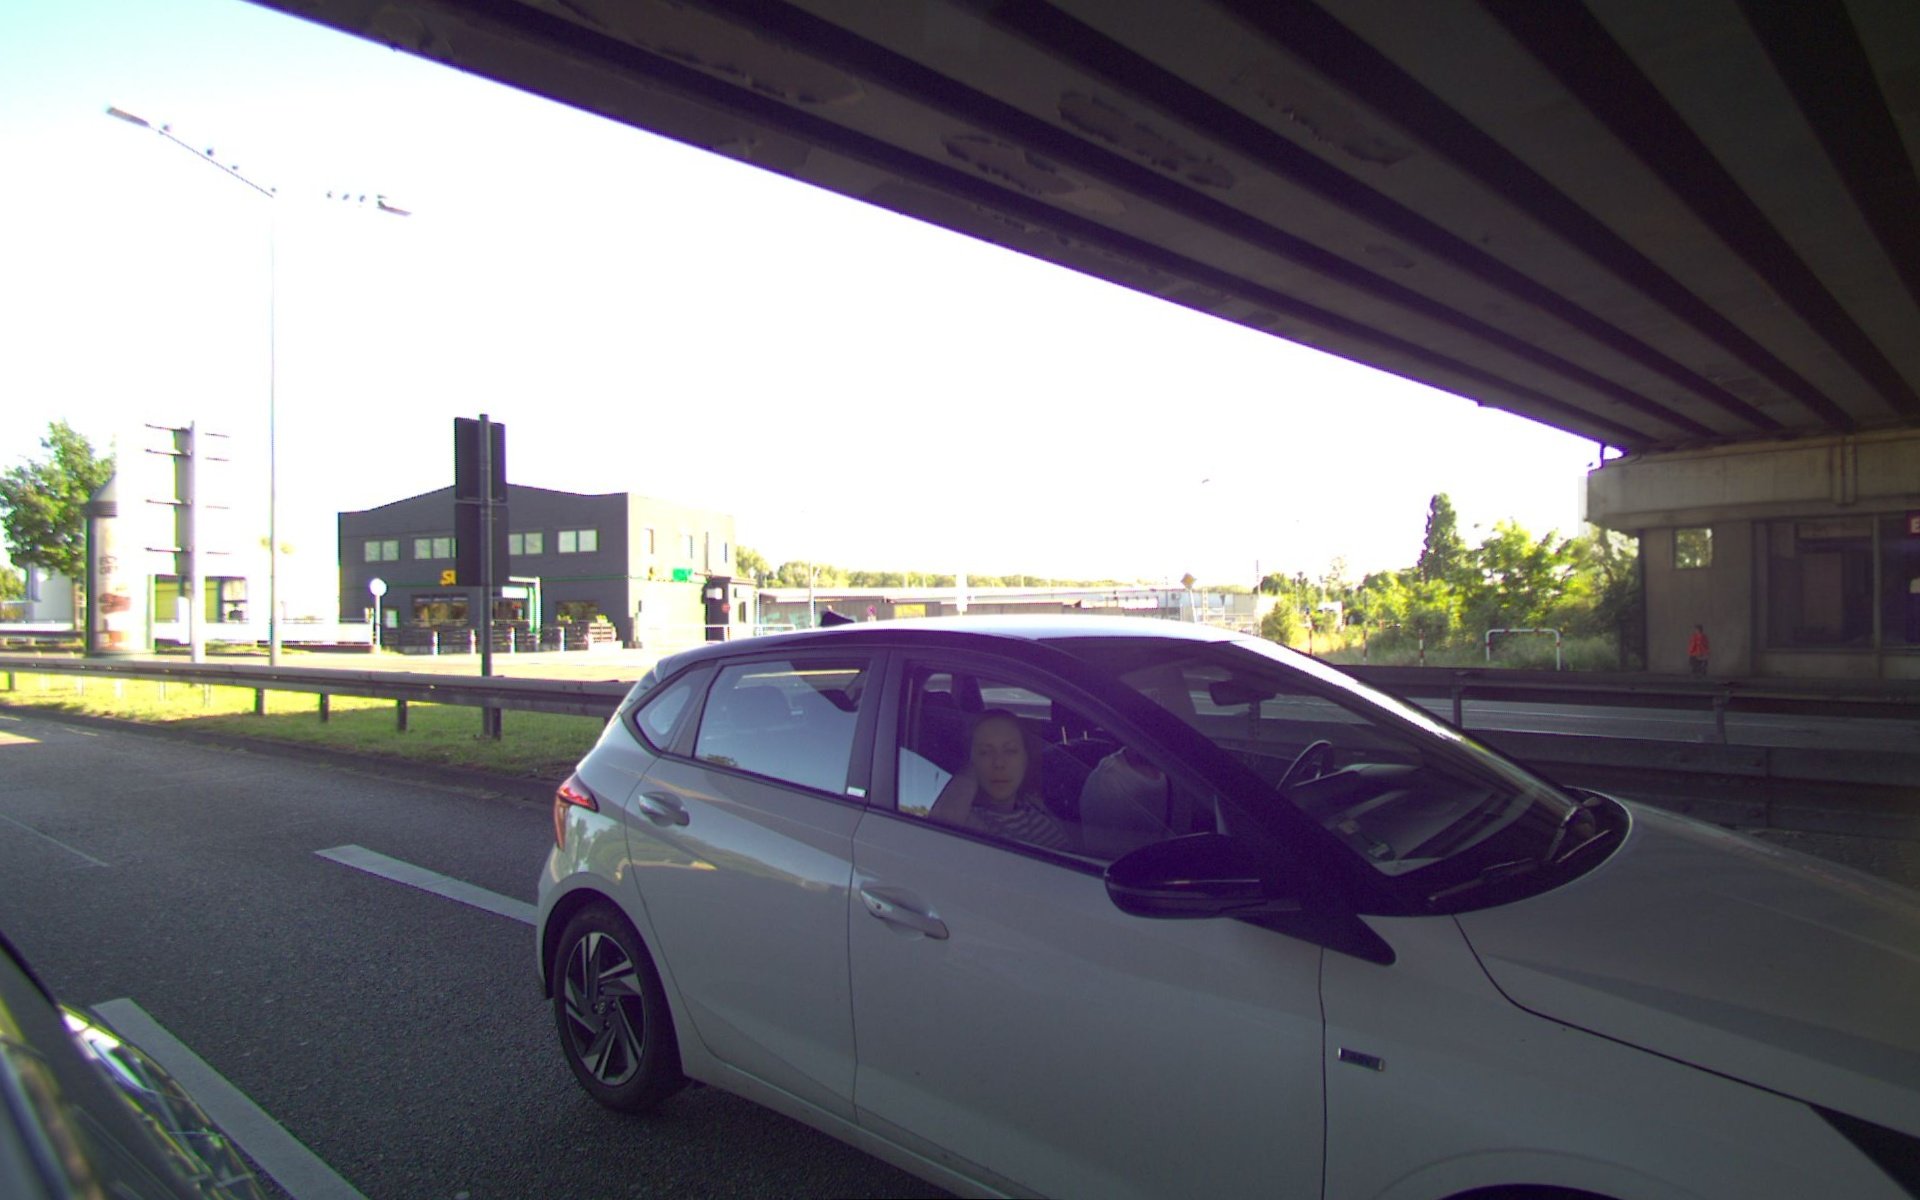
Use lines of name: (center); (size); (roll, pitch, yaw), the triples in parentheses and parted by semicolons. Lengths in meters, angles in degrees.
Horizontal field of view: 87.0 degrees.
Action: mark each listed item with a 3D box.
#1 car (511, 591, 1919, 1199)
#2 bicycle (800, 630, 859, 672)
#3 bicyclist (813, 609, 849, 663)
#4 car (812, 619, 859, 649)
car: (0.597, 0.698, 2.655); (3.868, 1.414, 1.715); (0, 0, 40)
bicycle: (-3.851, 1.474, 29.721); (1.877, 1.174, 0.627); (-1, 0, 41)
bicyclist: (-3.784, 1.045, 29.653); (0.836, 1.536, 0.621); (-1, 0, 41)
car: (-6.715, 1.832, 54.967); (1.858, 1.453, 3.996); (-1, 0, 3)
